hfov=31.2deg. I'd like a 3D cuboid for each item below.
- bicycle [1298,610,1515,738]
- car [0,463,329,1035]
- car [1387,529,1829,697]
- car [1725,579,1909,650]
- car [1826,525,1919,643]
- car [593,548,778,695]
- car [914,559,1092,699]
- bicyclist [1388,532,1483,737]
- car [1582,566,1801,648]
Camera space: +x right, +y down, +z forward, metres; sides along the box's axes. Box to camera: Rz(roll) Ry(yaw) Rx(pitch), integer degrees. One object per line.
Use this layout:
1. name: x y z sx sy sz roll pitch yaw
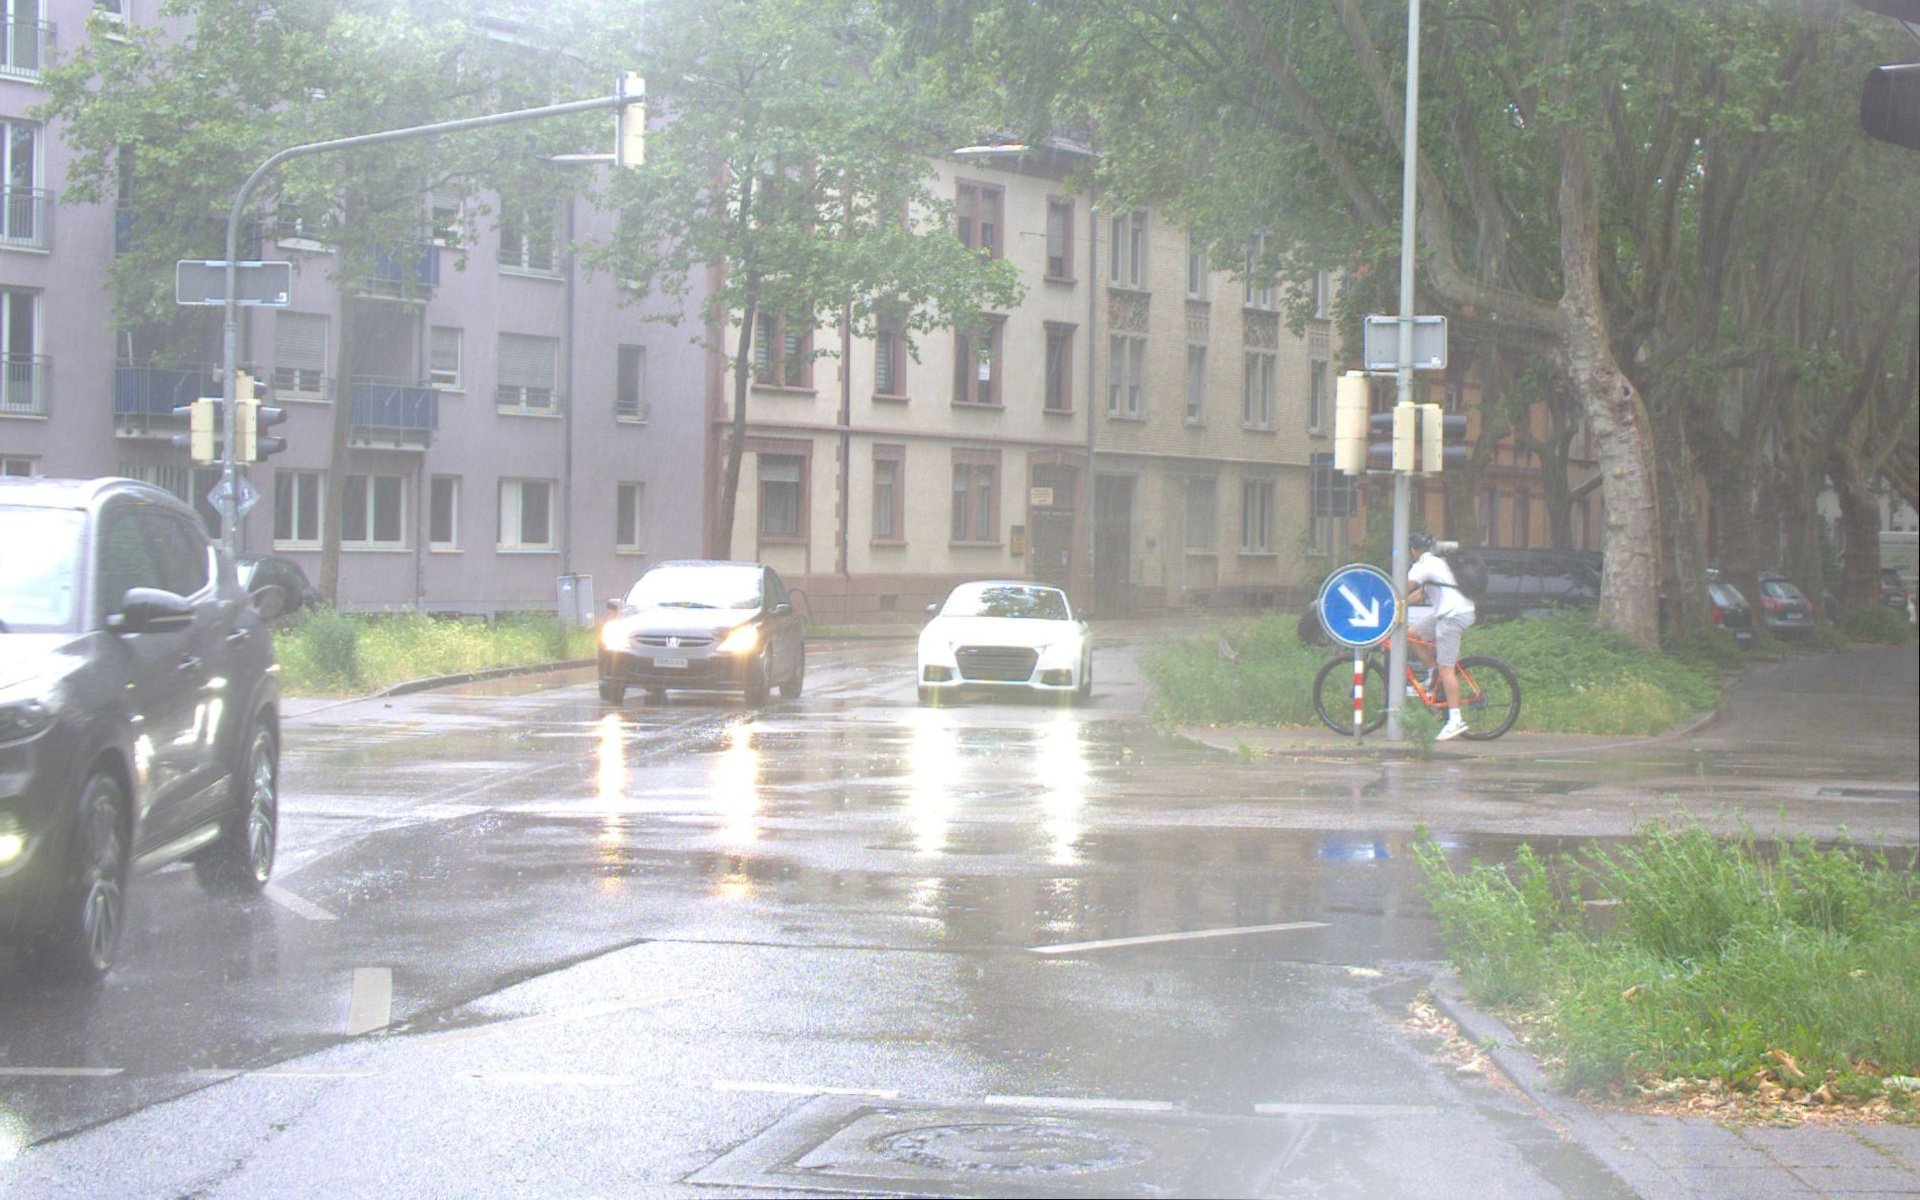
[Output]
1. bicycle: 3.944 0.646 30.399 1.873 1.077 0.657 1 0 8
2. car: -3.607 0.373 12.388 1.803 1.677 4.604 1 1 0
3. car: 6.165 0.103 32.705 3.989 1.481 1.999 1 1 12
4. car: 19.569 0.309 78.656 3.989 1.542 1.999 1 1 12
5. car: 24.389 -0.412 87.718 2.033 2.938 4.773 1 1 -21
6. car: -2.852 0.197 36.324 1.714 1.454 3.748 1 1 -1
7. car: 0.513 0.286 39.071 1.884 1.431 4.000 1 1 1
8. bicyclist: 4.194 0.298 30.365 0.795 1.780 0.697 1 0 8
9. car: 13.921 0.125 65.450 3.989 1.481 1.999 1 1 12
